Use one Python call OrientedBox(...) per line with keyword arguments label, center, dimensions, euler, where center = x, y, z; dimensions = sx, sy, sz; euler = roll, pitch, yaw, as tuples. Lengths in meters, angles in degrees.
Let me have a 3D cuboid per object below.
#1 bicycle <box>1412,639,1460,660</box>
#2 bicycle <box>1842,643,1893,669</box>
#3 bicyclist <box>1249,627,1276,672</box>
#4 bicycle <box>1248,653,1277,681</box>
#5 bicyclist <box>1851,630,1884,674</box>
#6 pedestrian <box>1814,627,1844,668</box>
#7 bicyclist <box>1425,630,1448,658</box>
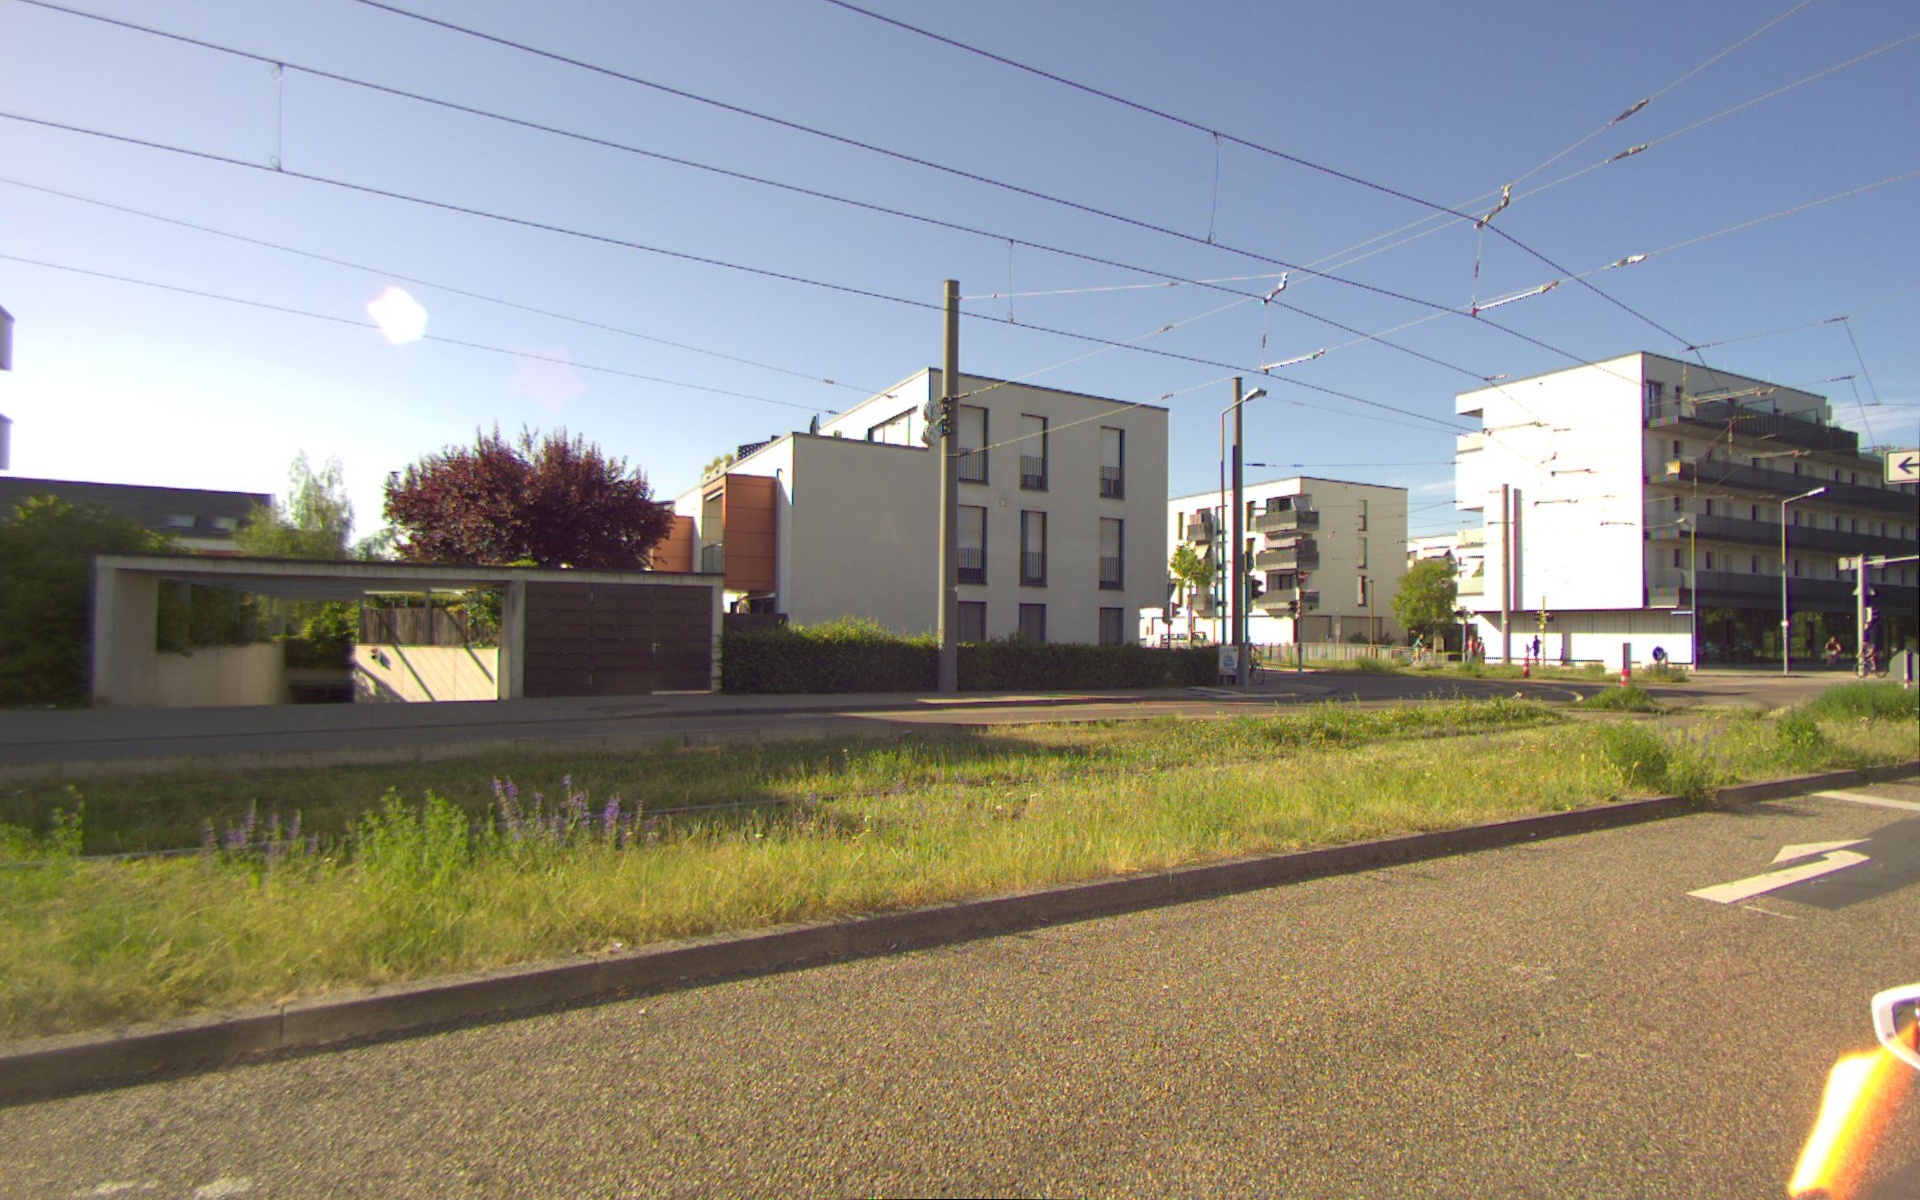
OrientedBox(label="bicycle", center=(28.258, 2.961, 59.638), dimensions=(2.783, 1.214, 0.899), euler=(1, -2, -21))
OrientedBox(label="bicycle", center=(42.268, 2.610, 46.781), dimensions=(1.610, 1.159, 0.745), euler=(0, -2, 5))
OrientedBox(label="bicyclist", center=(10.416, 1.707, 34.633), dimensions=(0.874, 1.510, 0.746), euler=(0, -2, 16))
OrientedBox(label="bicycle", center=(10.395, 2.286, 34.551), dimensions=(0.884, 0.904, 2.485), euler=(0, -2, 16))
OrientedBox(label="bicyclist", center=(42.269, 2.410, 46.791), dimensions=(0.779, 2.040, 0.812), euler=(0, -2, 5))
OrientedBox(label="pedestrian", center=(43.490, 2.382, 50.270), dimensions=(0.752, 2.040, 0.972), euler=(1, -2, -32))
OrientedBox(label="bicyclist", center=(28.304, 2.613, 59.661), dimensions=(0.899, 1.613, 0.891), euler=(1, -2, -20))
